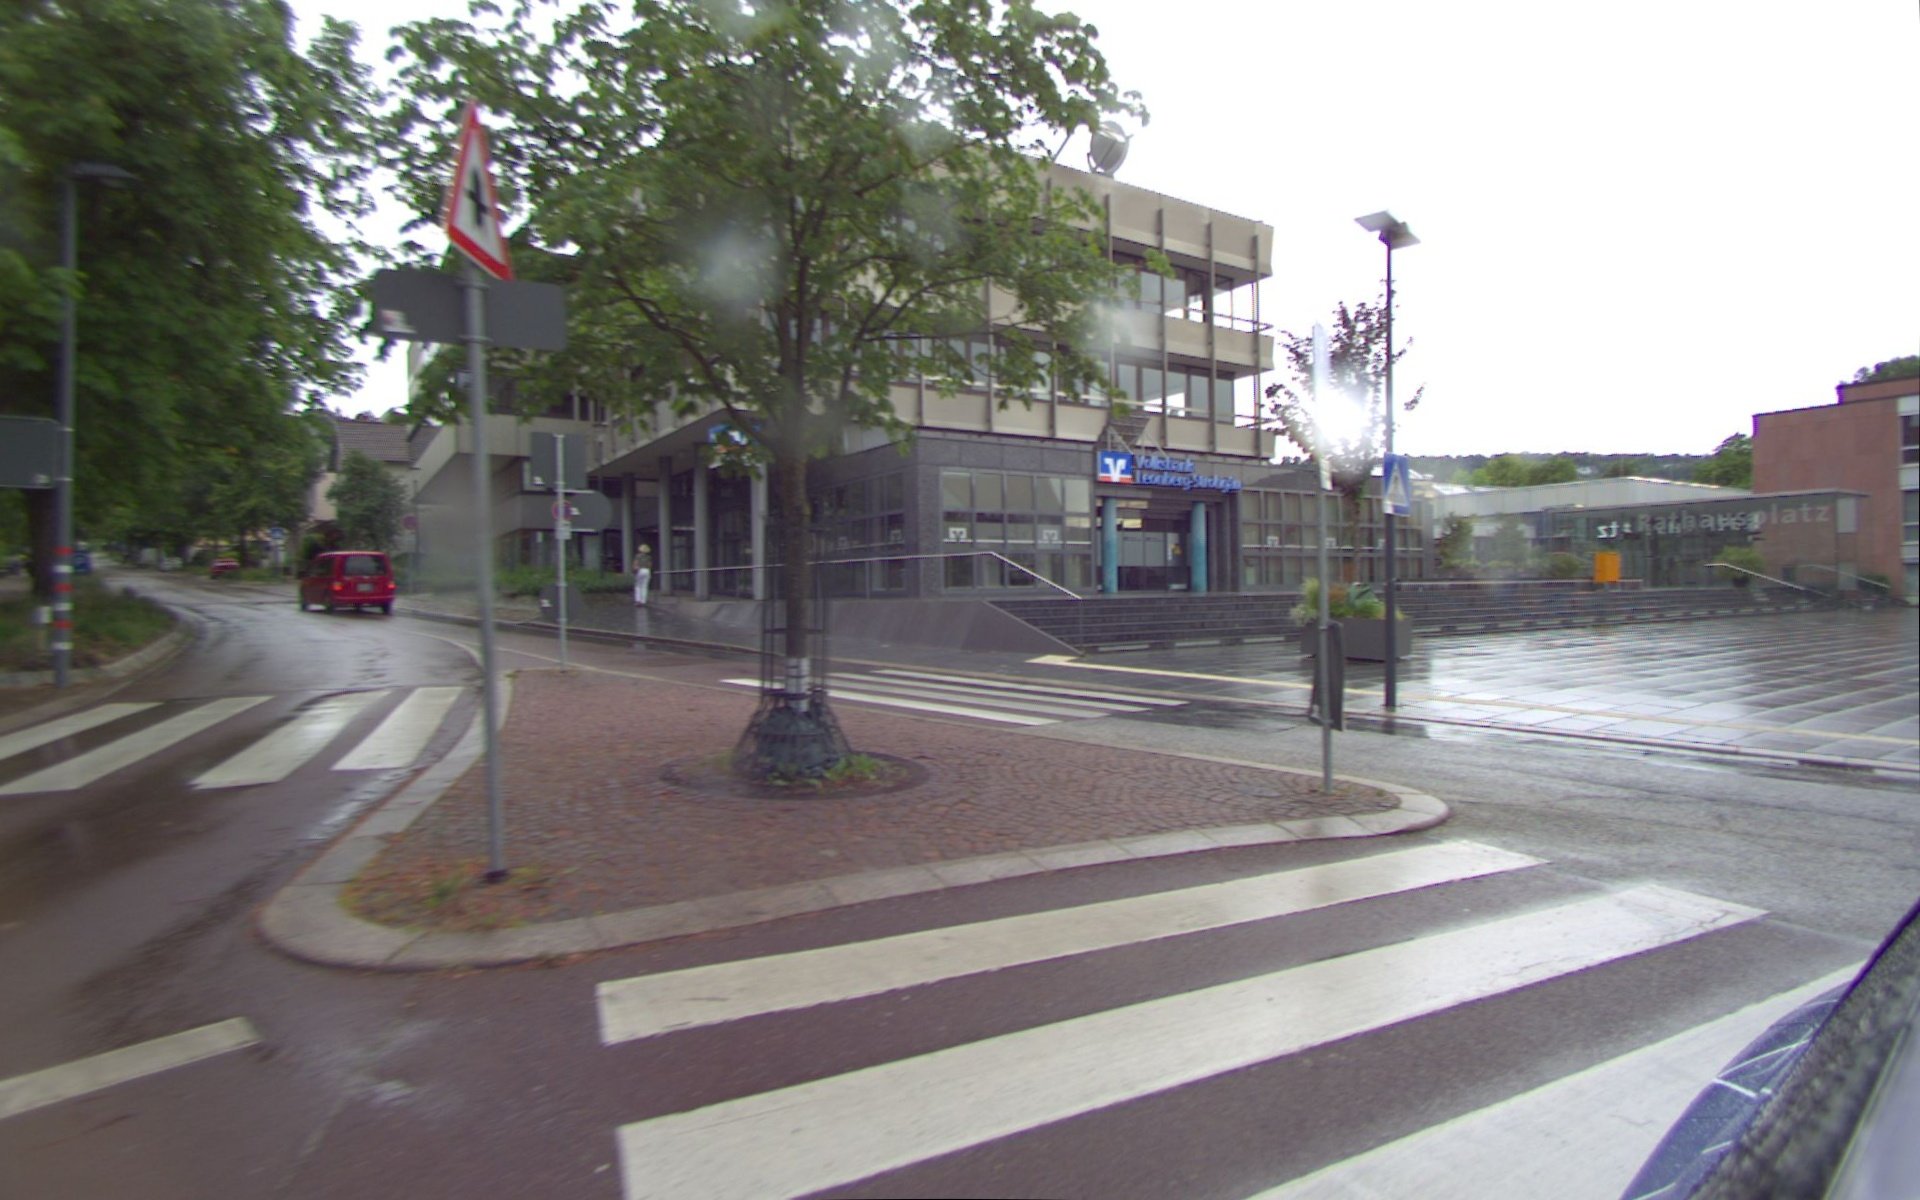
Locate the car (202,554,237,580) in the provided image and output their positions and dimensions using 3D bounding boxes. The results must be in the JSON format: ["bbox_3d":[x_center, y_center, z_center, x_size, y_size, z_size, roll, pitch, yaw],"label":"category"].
[{"bbox_3d":[-53.556,-2.379,73.275,1.963,1.791,4.000,-2,2,-36],"label":"car"}]

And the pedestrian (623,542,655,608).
[{"bbox_3d":[-9.228,-0.722,29.050,0.820,1.852,0.817,0,2,-22],"label":"pedestrian"}]

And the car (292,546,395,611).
[{"bbox_3d":[-18.977,-0.669,31.094,1.838,1.853,4.174,-1,2,-44],"label":"car"}]
